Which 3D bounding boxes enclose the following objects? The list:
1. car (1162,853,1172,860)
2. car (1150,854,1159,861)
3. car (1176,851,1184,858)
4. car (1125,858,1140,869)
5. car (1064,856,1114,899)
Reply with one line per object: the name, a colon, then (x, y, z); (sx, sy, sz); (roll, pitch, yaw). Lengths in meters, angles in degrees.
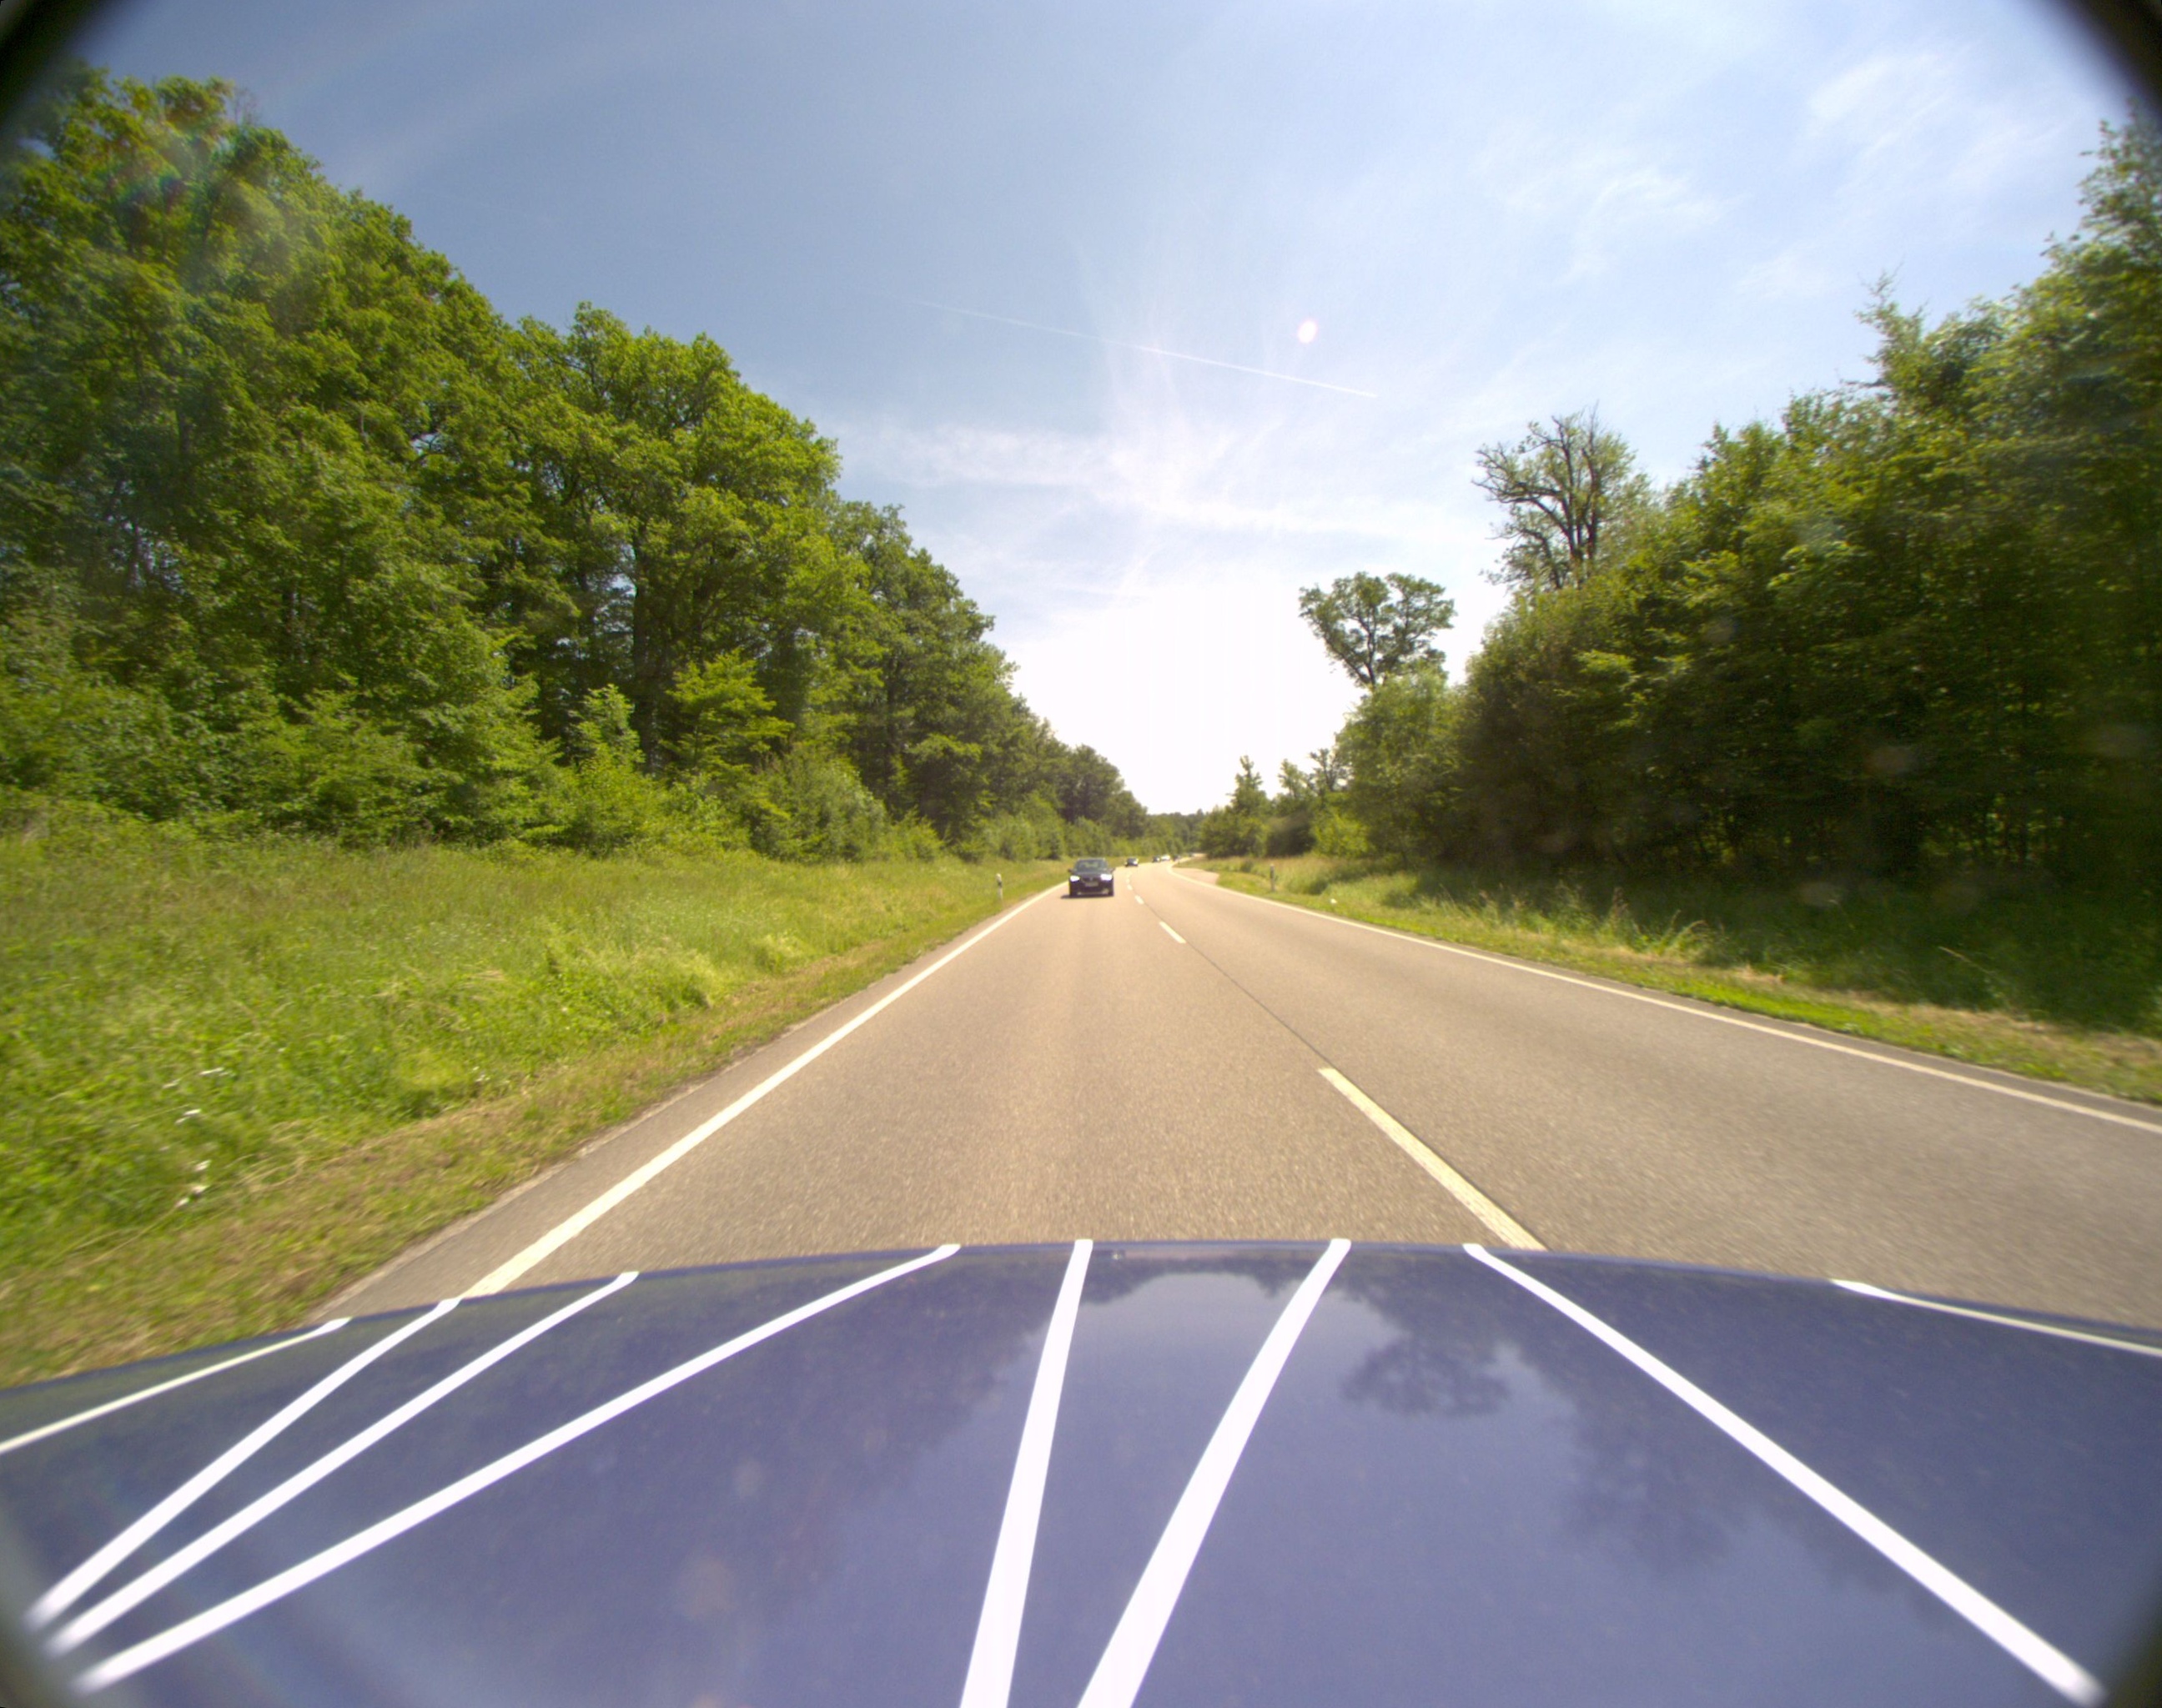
car: (21.482, 0.679, 189.748); (2.017, 1.737, 4.385); (-2, 0, 14)
car: (15.623, 0.747, 161.670); (1.775, 1.454, 4.002); (-2, 0, 8)
car: (28.818, 0.138, 221.282); (1.691, 1.718, 4.004); (-2, 0, 13)
car: (7.676, 1.378, 113.055); (1.775, 1.454, 3.951); (-2, 0, 10)
car: (0.399, 0.898, 30.936); (1.713, 1.516, 4.243); (-3, 0, 4)
